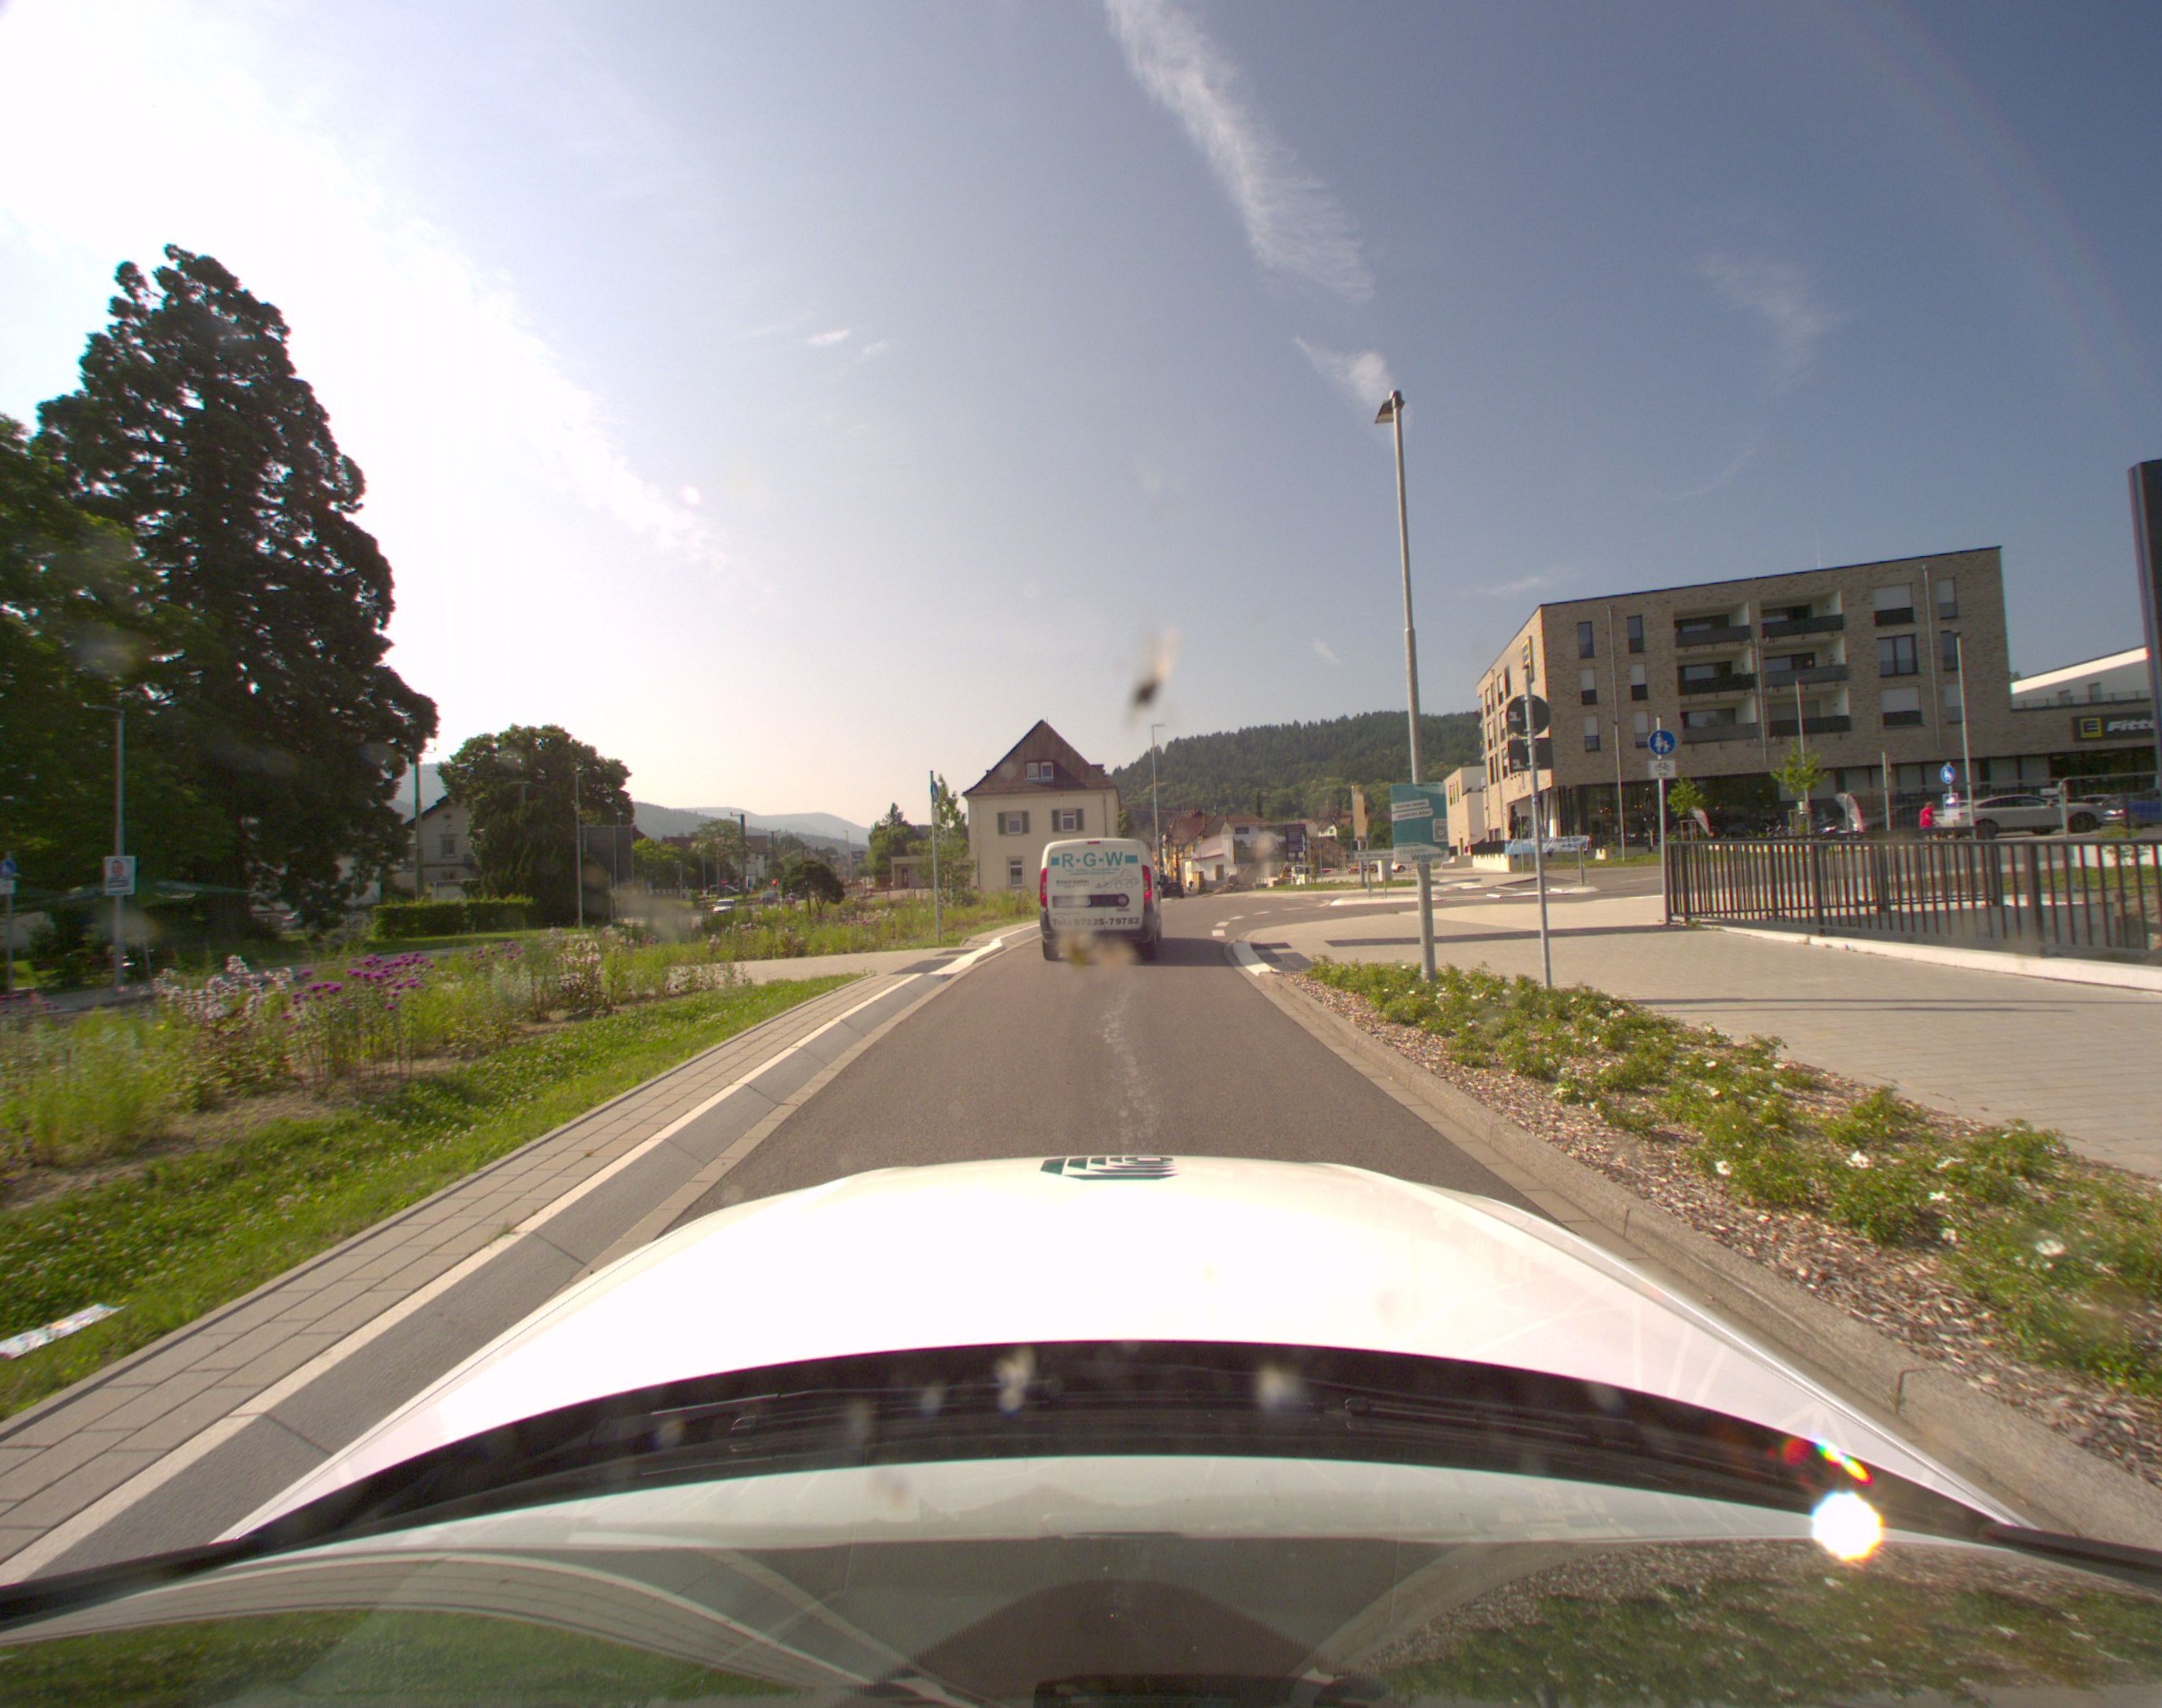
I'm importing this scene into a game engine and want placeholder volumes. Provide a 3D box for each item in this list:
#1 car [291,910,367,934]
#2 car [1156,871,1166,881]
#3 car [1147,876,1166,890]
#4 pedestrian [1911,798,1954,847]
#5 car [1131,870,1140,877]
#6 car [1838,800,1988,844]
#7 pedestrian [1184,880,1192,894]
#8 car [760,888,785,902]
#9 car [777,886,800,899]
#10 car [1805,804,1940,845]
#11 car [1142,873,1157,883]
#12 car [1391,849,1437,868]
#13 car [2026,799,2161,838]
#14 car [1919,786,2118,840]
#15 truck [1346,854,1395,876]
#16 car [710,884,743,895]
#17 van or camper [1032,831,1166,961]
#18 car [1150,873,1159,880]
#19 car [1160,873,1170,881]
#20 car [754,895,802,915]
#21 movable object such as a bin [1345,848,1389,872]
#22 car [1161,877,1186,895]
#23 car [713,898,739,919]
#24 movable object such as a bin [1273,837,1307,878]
[{"bbox_3d":[-53.589,4.826,58.090,1.586,1.495,3.673,-1,-2,31],"label":"car"},{"bbox_3d":[16.741,4.576,170.306,1.864,2.014,4.002,-2,-1,2],"label":"car"},{"bbox_3d":[8.911,3.427,96.371,1.806,1.597,3.923,0,-1,-2],"label":"car"},{"bbox_3d":[30.961,-1.131,29.618,0.759,1.741,0.873,0,-1,-26],"label":"pedestrian"},{"bbox_3d":[13.536,4.874,201.841,1.805,1.597,3.925,0,-1,0],"label":"car"},{"bbox_3d":[38.139,-1.435,37.448,4.412,1.555,1.866,-5,0,15],"label":"car"},{"bbox_3d":[13.318,4.075,101.296,0.885,1.683,0.719,-1,-3,3],"label":"pedestrian"},{"bbox_3d":[-35.513,4.732,93.792,1.706,1.398,3.992,0,-1,-5],"label":"car"},{"bbox_3d":[-36.542,4.804,101.714,1.706,1.398,3.992,0,-1,-5],"label":"car"},{"bbox_3d":[39.331,-1.461,40.587,4.412,1.555,1.866,-5,0,15],"label":"car"},{"bbox_3d":[10.797,3.797,128.676,1.806,1.597,3.923,0,-1,-2],"label":"car"},{"bbox_3d":[30.266,0.431,74.043,3.392,1.495,1.595,-4,-3,2],"label":"car"},{"bbox_3d":[46.155,-1.566,37.267,1.626,1.393,4.247,-5,-2,15],"label":"car"},{"bbox_3d":[36.566,-1.578,31.936,4.767,1.555,1.867,-5,0,18],"label":"car"},{"bbox_3d":[36.048,1.385,101.479,5.264,2.266,2.232,-5,-3,28],"label":"truck"},{"bbox_3d":[-50.624,5.026,116.258,3.988,1.398,1.708,0,-1,-11],"label":"car"},{"bbox_3d":[0.473,0.683,14.009,1.818,1.845,4.196,-2,-2,7],"label":"van or camper"},{"bbox_3d":[16.833,5.098,186.668,1.664,1.508,4.000,-3,-1,1],"label":"car"},{"bbox_3d":[16.554,4.558,160.229,1.803,1.597,3.930,0,-1,3],"label":"car"},{"bbox_3d":[-24.205,4.028,64.967,3.948,1.398,1.725,-1,-1,37],"label":"car"},{"bbox_3d":[34.547,0.706,98.443,4.568,2.570,1.937,-5,-3,28],"label":"movable object such as a bin"},{"bbox_3d":[8.697,2.997,76.806,1.806,1.597,3.923,0,-1,-2],"label":"car"},{"bbox_3d":[-28.378,4.315,65.070,1.678,1.531,3.966,-3,-2,-25],"label":"car"},{"bbox_3d":[21.008,0.455,82.242,2.283,3.854,7.812,-1,-2,7],"label":"movable object such as a bin"}]
